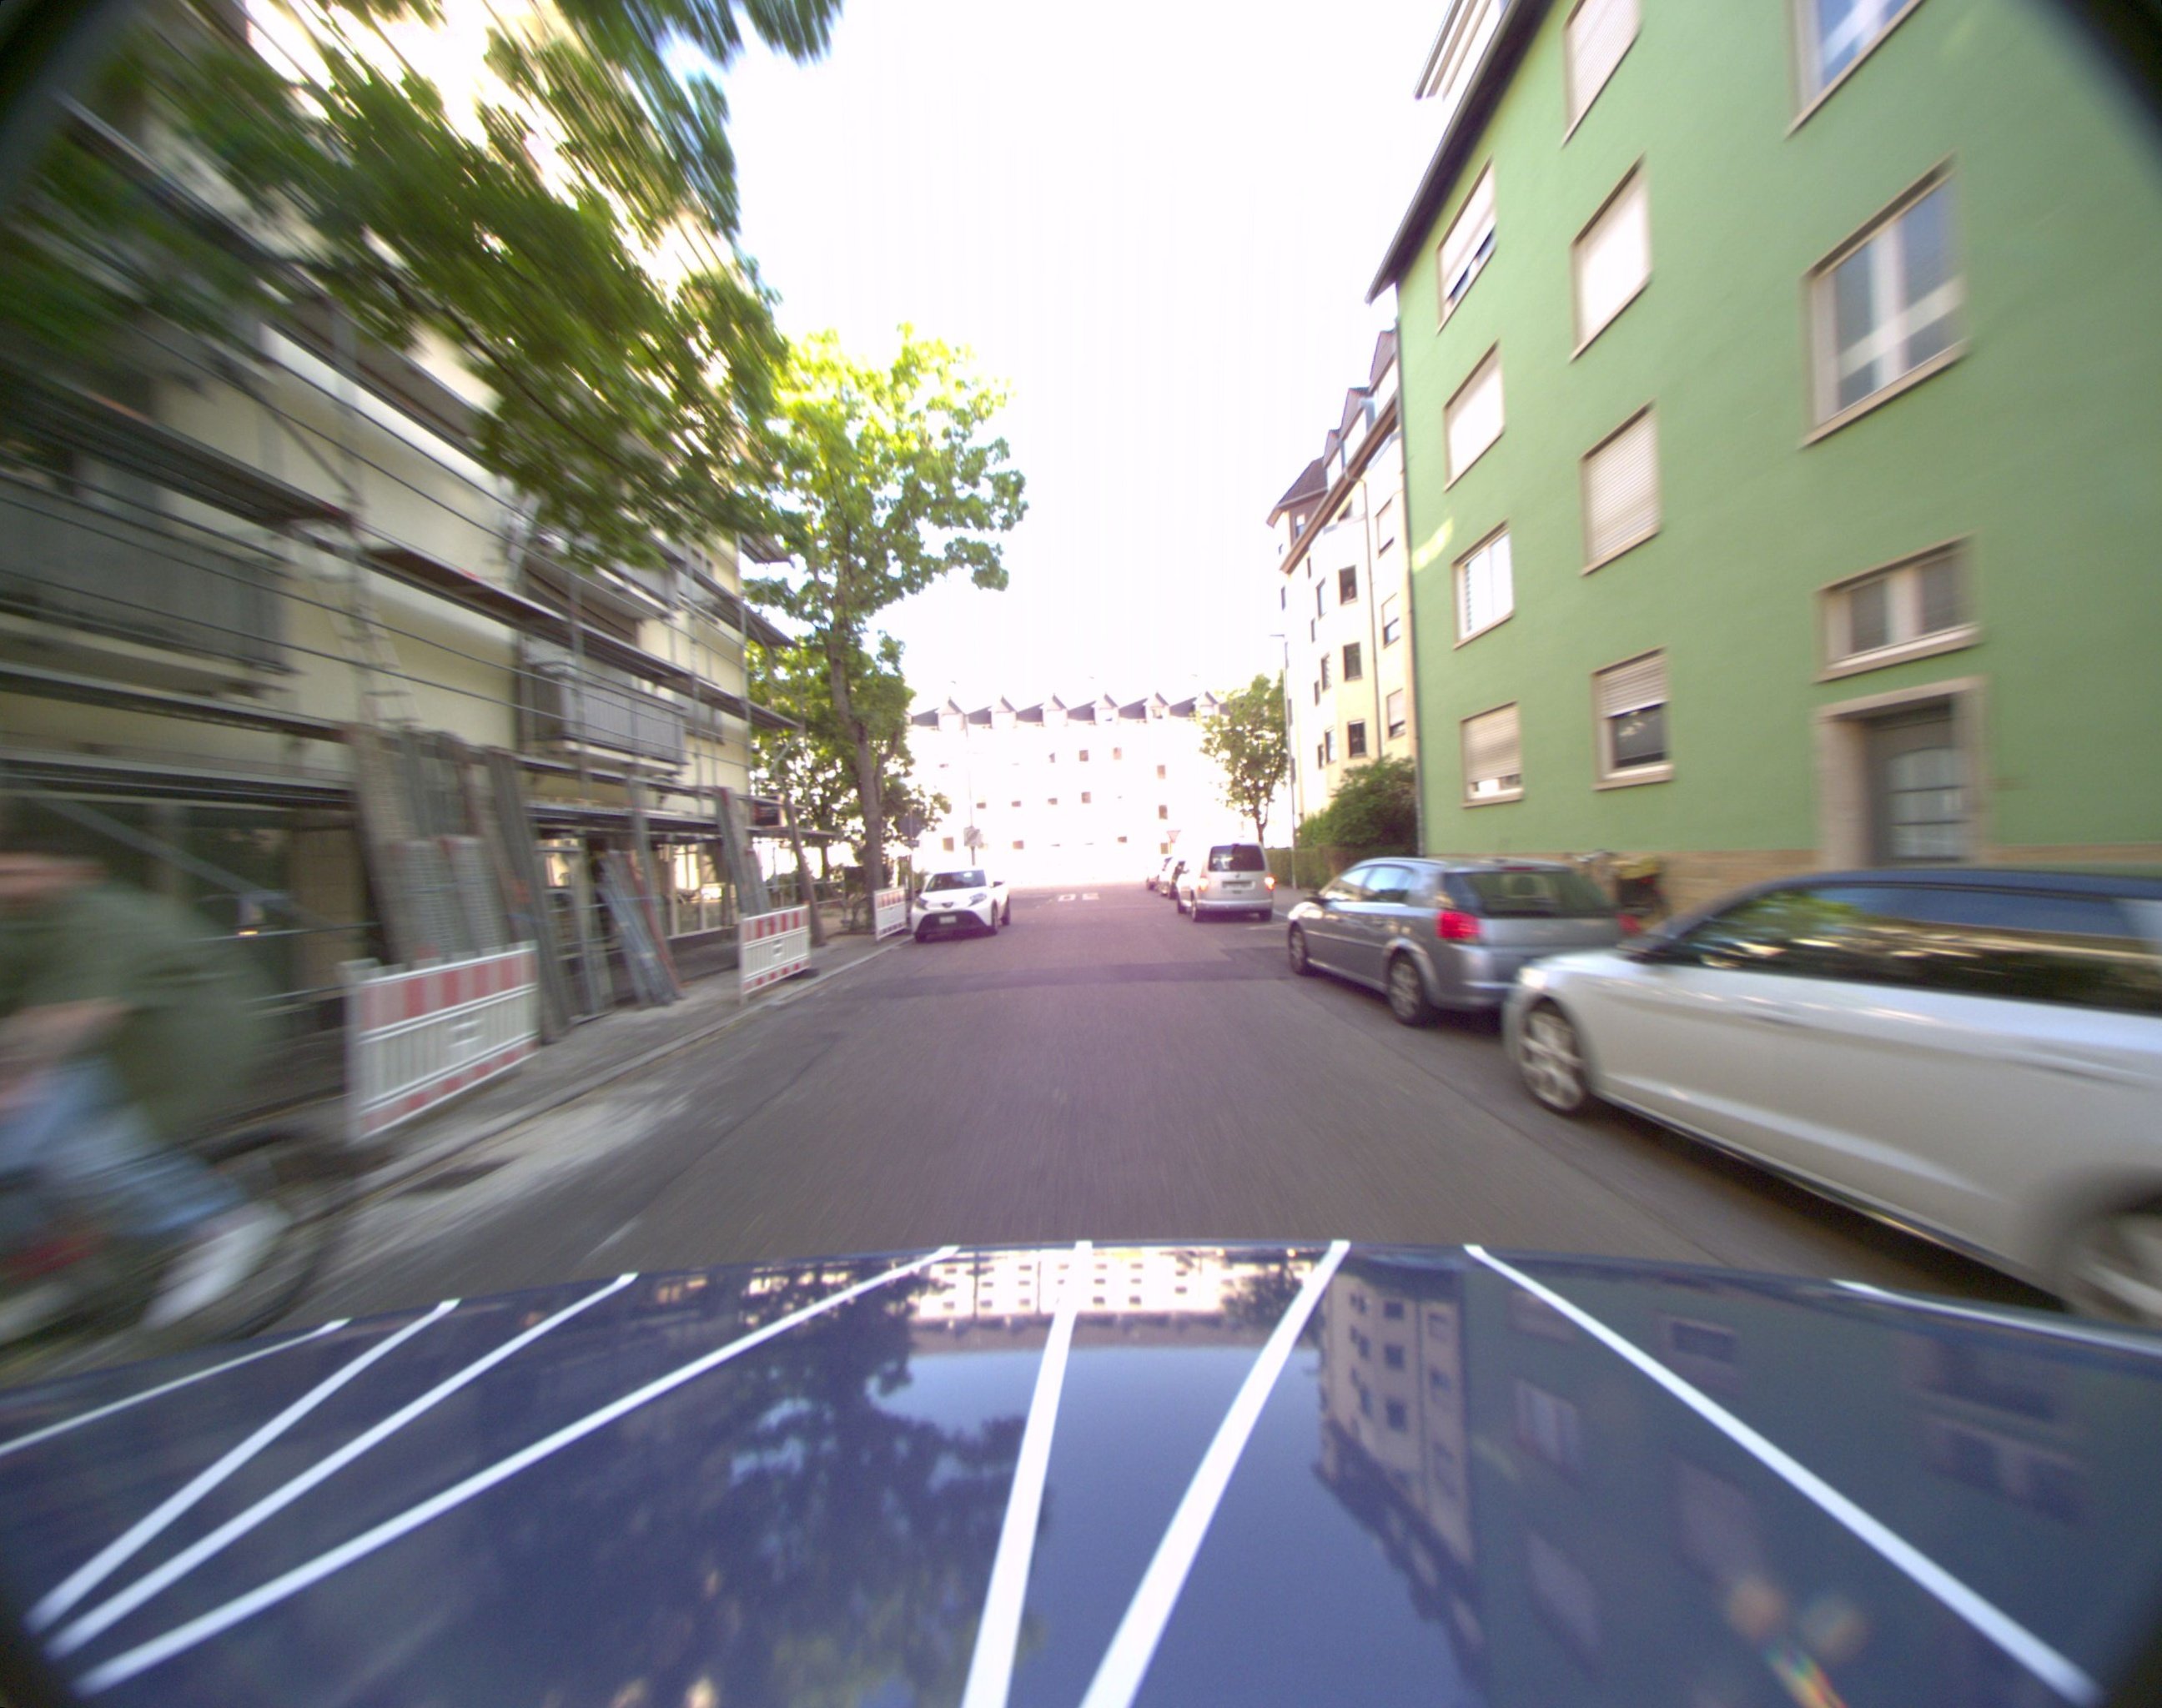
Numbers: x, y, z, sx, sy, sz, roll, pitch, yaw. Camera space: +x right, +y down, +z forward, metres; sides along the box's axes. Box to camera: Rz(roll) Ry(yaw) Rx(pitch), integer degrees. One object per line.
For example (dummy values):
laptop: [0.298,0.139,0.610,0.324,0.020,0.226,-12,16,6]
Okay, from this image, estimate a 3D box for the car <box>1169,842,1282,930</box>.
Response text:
car: [3.310,0.663,18.219,1.776,1.832,4.415,-1,1,-1]

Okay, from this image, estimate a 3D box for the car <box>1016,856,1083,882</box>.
car: [-2.241,1.031,53.236,4.493,1.498,1.944,-3,0,-5]

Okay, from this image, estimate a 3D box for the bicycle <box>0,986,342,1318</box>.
bicycle: [-4.594,1.314,3.802,1.924,1.115,0.749,-3,0,30]

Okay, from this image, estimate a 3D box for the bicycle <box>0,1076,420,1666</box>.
bicycle: [-3.003,1.441,2.070,0.741,1.054,1.857,-4,1,-2]

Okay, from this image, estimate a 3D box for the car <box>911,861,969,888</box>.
car: [-9.699,1.384,52.363,3.706,1.598,1.648,-4,0,-7]

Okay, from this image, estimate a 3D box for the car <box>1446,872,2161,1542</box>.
car: [3.433,0.867,3.041,1.837,1.454,4.362,-1,0,0]

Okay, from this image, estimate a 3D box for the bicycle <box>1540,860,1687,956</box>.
bicycle: [6.971,0.657,10.081,0.488,1.069,1.969,-7,1,1]

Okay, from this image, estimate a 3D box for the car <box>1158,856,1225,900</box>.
car: [3.824,0.807,27.018,1.770,1.444,4.207,0,0,0]

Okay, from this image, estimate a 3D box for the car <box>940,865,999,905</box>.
car: [-4.380,1.195,30.371,1.665,1.399,4.507,0,0,0]

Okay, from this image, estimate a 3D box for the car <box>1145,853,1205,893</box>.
car: [3.915,0.755,32.370,1.724,1.546,4.072,-1,0,-5]

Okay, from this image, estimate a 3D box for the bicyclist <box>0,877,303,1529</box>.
bicyclist: [-3.053,0.883,2.055,0.757,1.556,0.981,-4,0,-2]

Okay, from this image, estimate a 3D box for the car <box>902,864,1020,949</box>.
car: [-2.567,1.079,17.196,1.807,1.526,3.964,-4,0,2]

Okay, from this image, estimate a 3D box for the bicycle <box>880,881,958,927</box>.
bicycle: [-4.273,1.291,20.020,1.973,1.148,0.751,0,0,-14]

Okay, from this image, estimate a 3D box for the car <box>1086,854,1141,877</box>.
car: [2.302,0.797,53.772,3.613,1.440,1.553,-3,1,-7]

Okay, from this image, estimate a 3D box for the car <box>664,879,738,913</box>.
car: [-18.378,2.015,36.821,2.881,1.348,1.261,-3,1,-10]

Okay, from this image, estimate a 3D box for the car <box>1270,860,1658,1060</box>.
car: [3.499,0.828,8.065,1.724,1.454,4.506,-1,0,-2]
